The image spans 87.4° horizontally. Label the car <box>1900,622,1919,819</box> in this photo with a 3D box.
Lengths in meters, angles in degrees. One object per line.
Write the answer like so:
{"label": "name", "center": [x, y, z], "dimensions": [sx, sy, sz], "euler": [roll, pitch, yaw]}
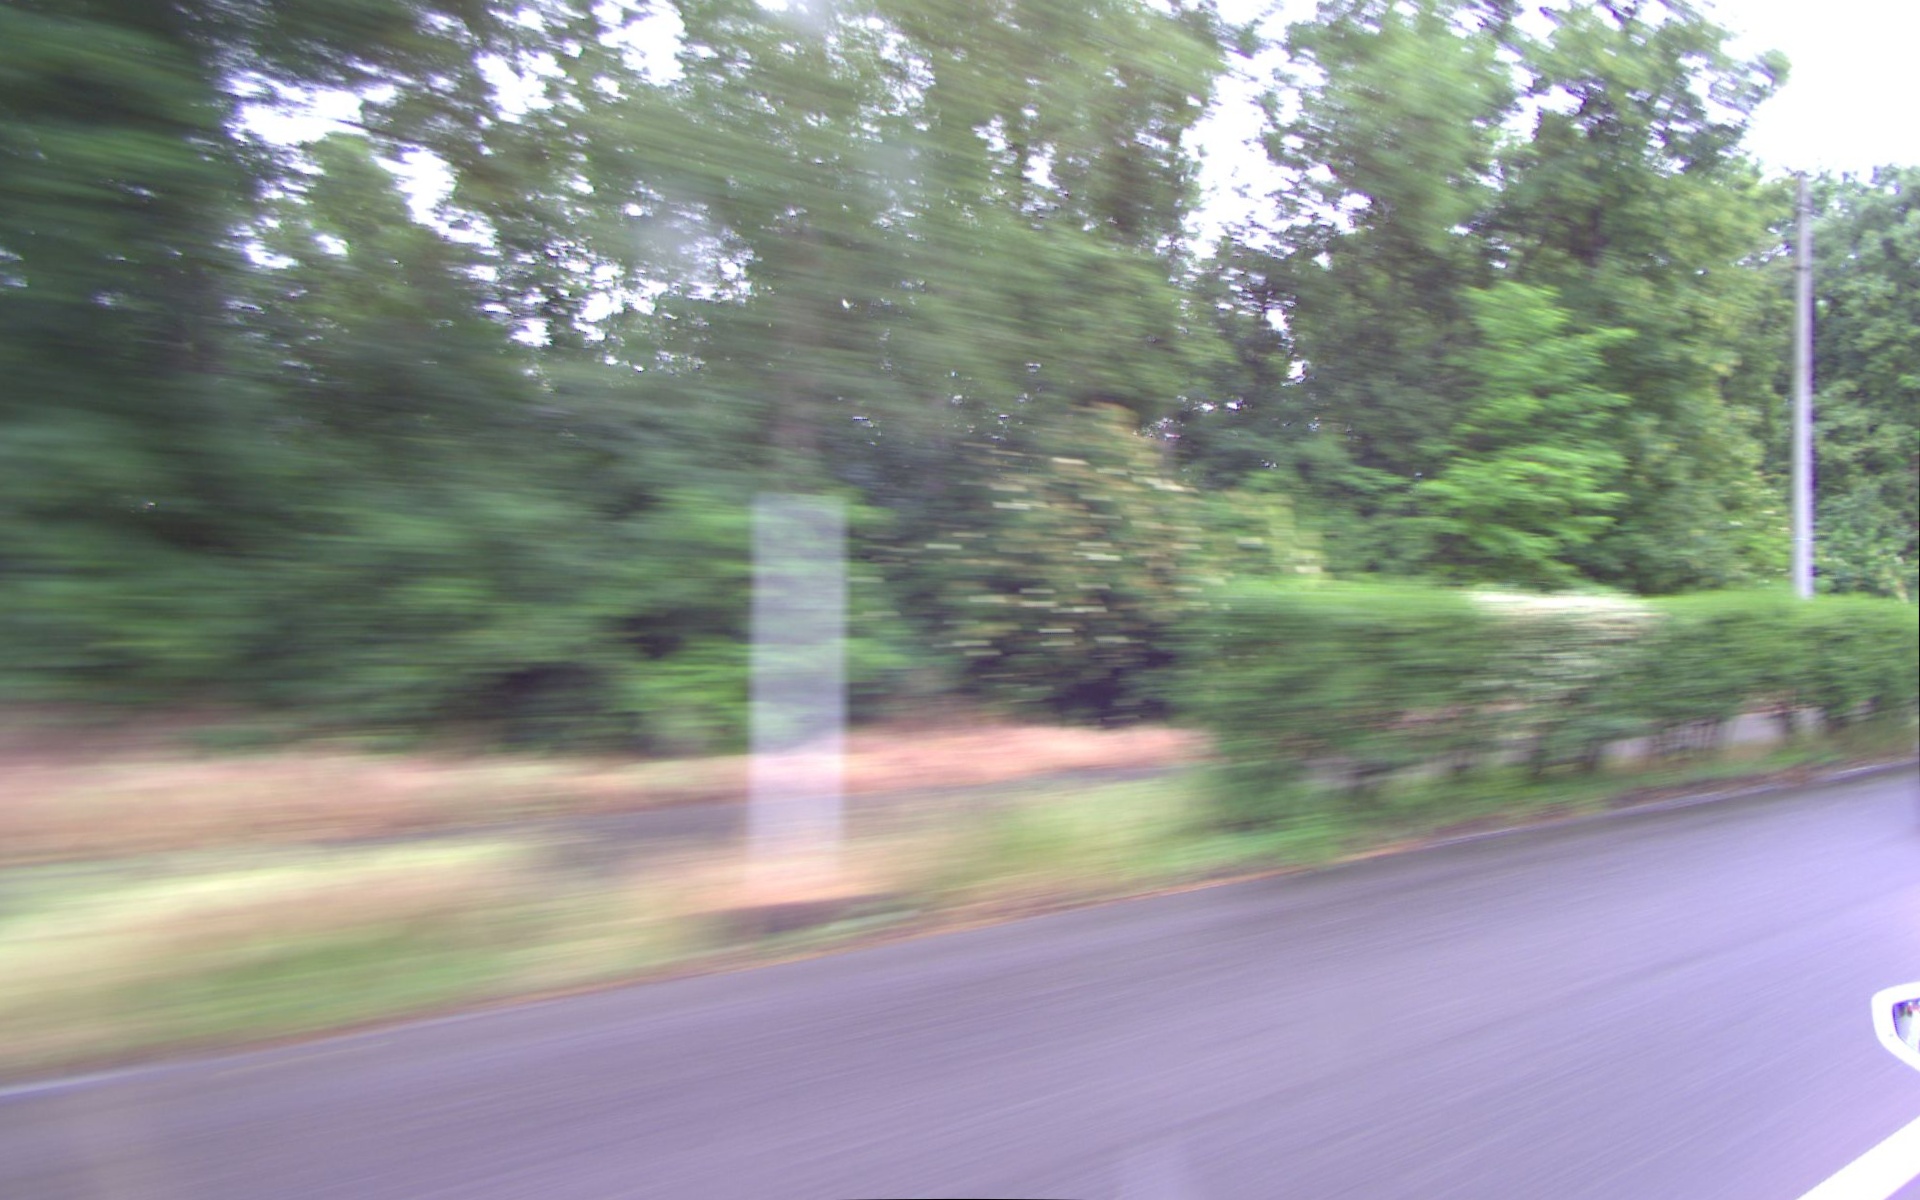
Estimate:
{"label": "car", "center": [9.401, 0.962, 8.022], "dimensions": [3.922, 1.499, 1.775], "euler": [2, -2, -31]}
